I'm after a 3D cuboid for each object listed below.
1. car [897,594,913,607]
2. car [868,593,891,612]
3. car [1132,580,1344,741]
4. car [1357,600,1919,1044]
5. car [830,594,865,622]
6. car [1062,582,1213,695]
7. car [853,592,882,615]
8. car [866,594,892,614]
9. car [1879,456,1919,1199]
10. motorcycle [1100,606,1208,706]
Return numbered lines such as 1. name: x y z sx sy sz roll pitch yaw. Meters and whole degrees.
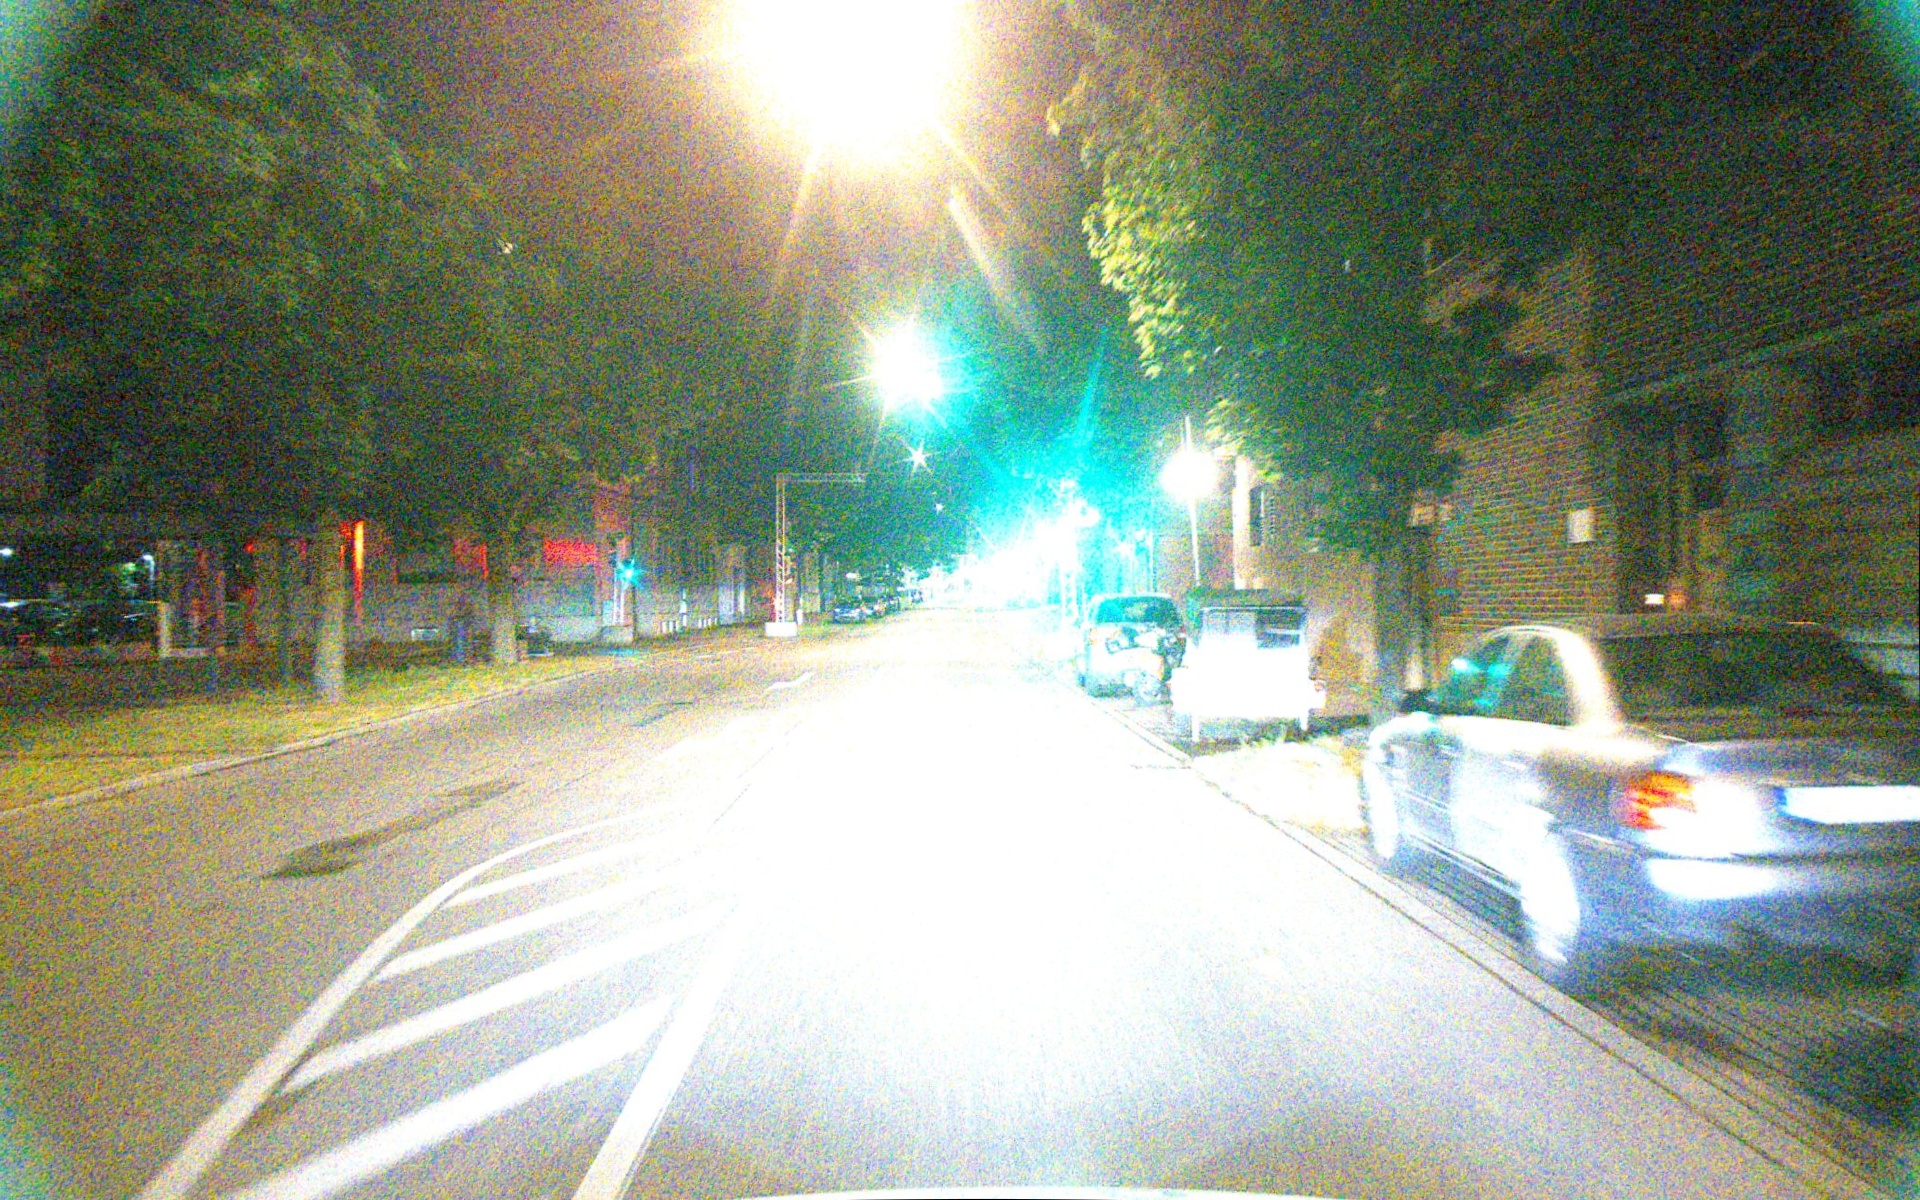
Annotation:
1. car: -6.275 0.073 188.633 1.705 1.440 3.751 0 0 -1
2. car: -6.430 0.200 132.889 1.705 1.440 3.751 0 0 -1
3. car: 3.025 0.595 18.775 1.559 1.561 4.137 -2 0 -2
4. car: 3.074 0.752 7.604 1.489 1.420 3.984 -2 0 0
5. car: -6.086 0.423 89.575 1.705 1.440 3.751 0 0 -1
6. car: 2.731 0.549 26.314 1.816 1.618 4.299 -1 0 -2
7. car: -5.873 0.229 105.385 1.705 1.440 3.751 0 0 -1
8. car: -5.831 0.284 119.018 1.705 1.440 3.751 0 0 -1
9. car: 3.292 0.551 2.002 1.736 1.838 4.274 -2 0 -4
10. motorcycle: 2.682 0.738 22.673 0.625 1.292 2.058 0 0 33
